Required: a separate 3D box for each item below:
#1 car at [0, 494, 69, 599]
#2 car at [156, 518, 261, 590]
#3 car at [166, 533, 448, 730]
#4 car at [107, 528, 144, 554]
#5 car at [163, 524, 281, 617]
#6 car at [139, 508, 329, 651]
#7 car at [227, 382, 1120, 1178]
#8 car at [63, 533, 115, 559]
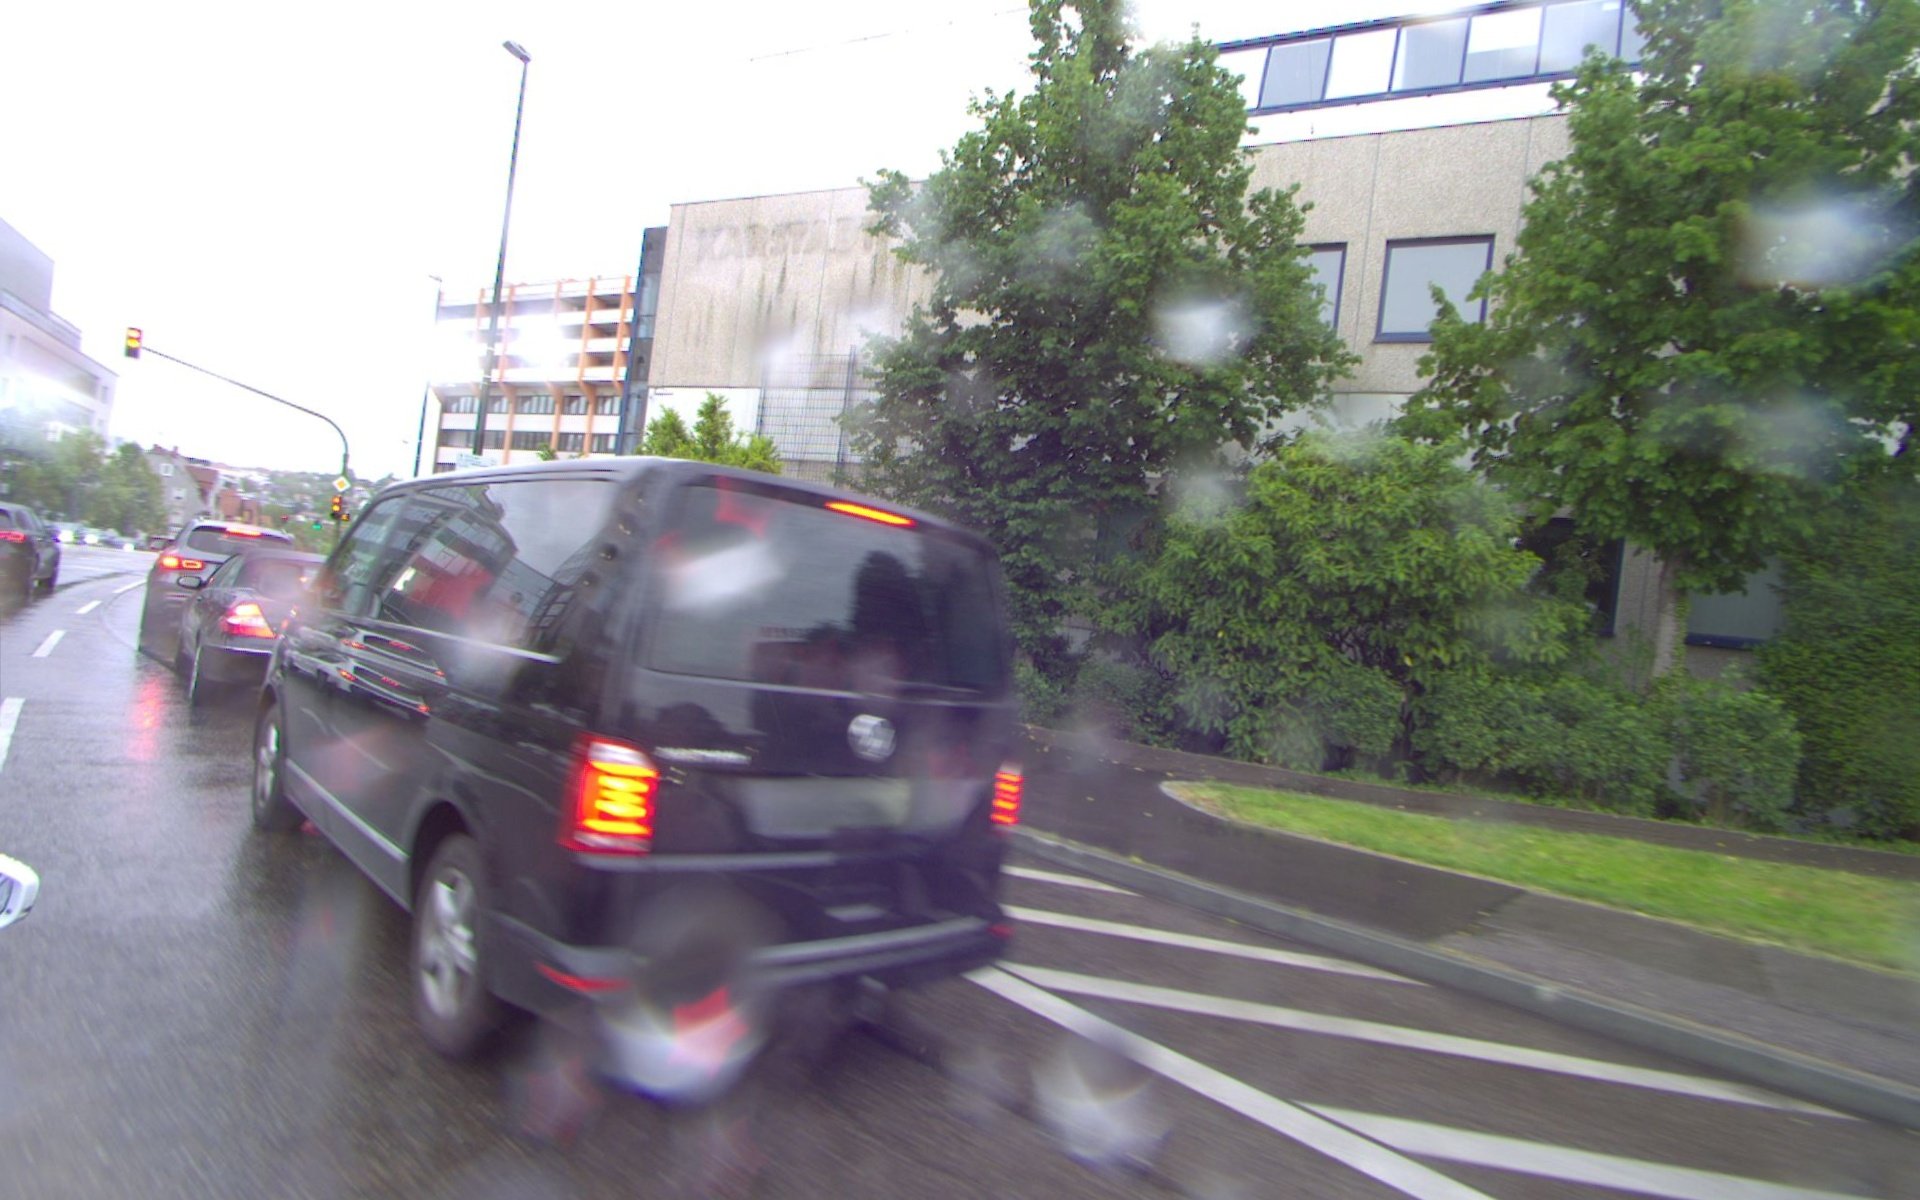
[{"bbox_3d":[-16.337,-1.022,16.741,1.807,1.548,3.773,8,-1,-37],"label":"car"},{"bbox_3d":[-19.096,-1.203,25.672,1.902,1.417,3.423,8,0,-36],"label":"car"},{"bbox_3d":[-6.701,0.204,10.076,1.627,1.402,4.463,9,-2,-41],"label":"car"},{"bbox_3d":[-64.393,-4.562,77.686,1.497,1.745,3.626,8,-2,-31],"label":"car"},{"bbox_3d":[-15.174,-0.654,20.676,1.627,1.465,4.224,10,-2,-37],"label":"car"},{"bbox_3d":[-10.964,-0.360,15.133,1.893,1.639,4.290,9,-2,-38],"label":"car"},{"bbox_3d":[-1.765,0.412,4.753,1.991,1.915,4.531,9,-3,-44],"label":"car"},{"bbox_3d":[-61.398,-3.775,71.015,1.757,1.614,4.557,3,0,-28],"label":"car"}]
